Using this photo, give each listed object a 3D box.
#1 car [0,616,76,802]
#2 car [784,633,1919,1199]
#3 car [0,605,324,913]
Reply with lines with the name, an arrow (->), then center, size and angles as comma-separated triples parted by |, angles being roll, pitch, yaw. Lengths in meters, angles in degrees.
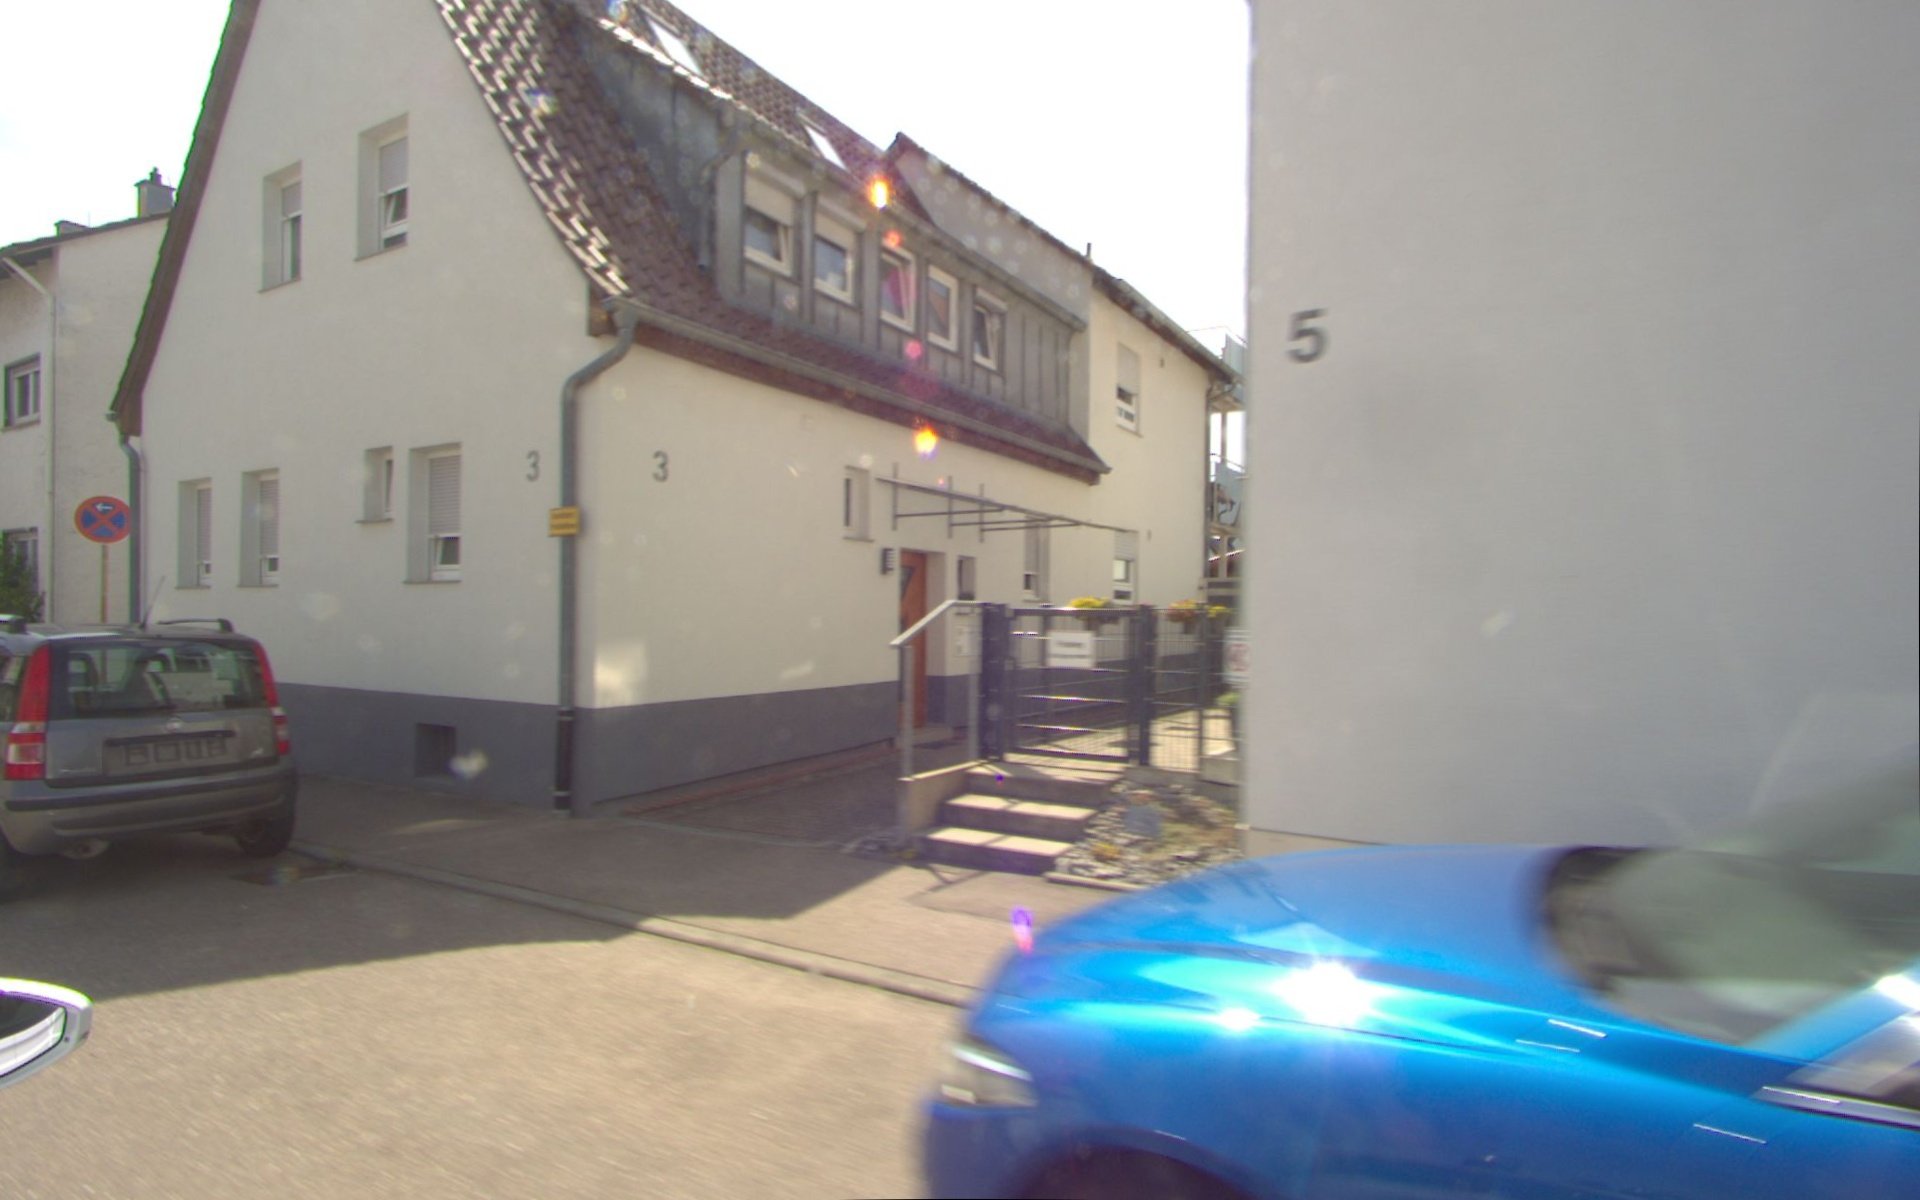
car -> -9.504, 0.910, 8.910 | 3.312, 1.532, 1.497 | -1, -2, 31
car -> 2.036, 0.788, 1.393 | 4.527, 1.442, 1.760 | -1, -2, 33
car -> -5.983, 0.852, 6.623 | 3.397, 1.565, 1.566 | -1, -2, 29
